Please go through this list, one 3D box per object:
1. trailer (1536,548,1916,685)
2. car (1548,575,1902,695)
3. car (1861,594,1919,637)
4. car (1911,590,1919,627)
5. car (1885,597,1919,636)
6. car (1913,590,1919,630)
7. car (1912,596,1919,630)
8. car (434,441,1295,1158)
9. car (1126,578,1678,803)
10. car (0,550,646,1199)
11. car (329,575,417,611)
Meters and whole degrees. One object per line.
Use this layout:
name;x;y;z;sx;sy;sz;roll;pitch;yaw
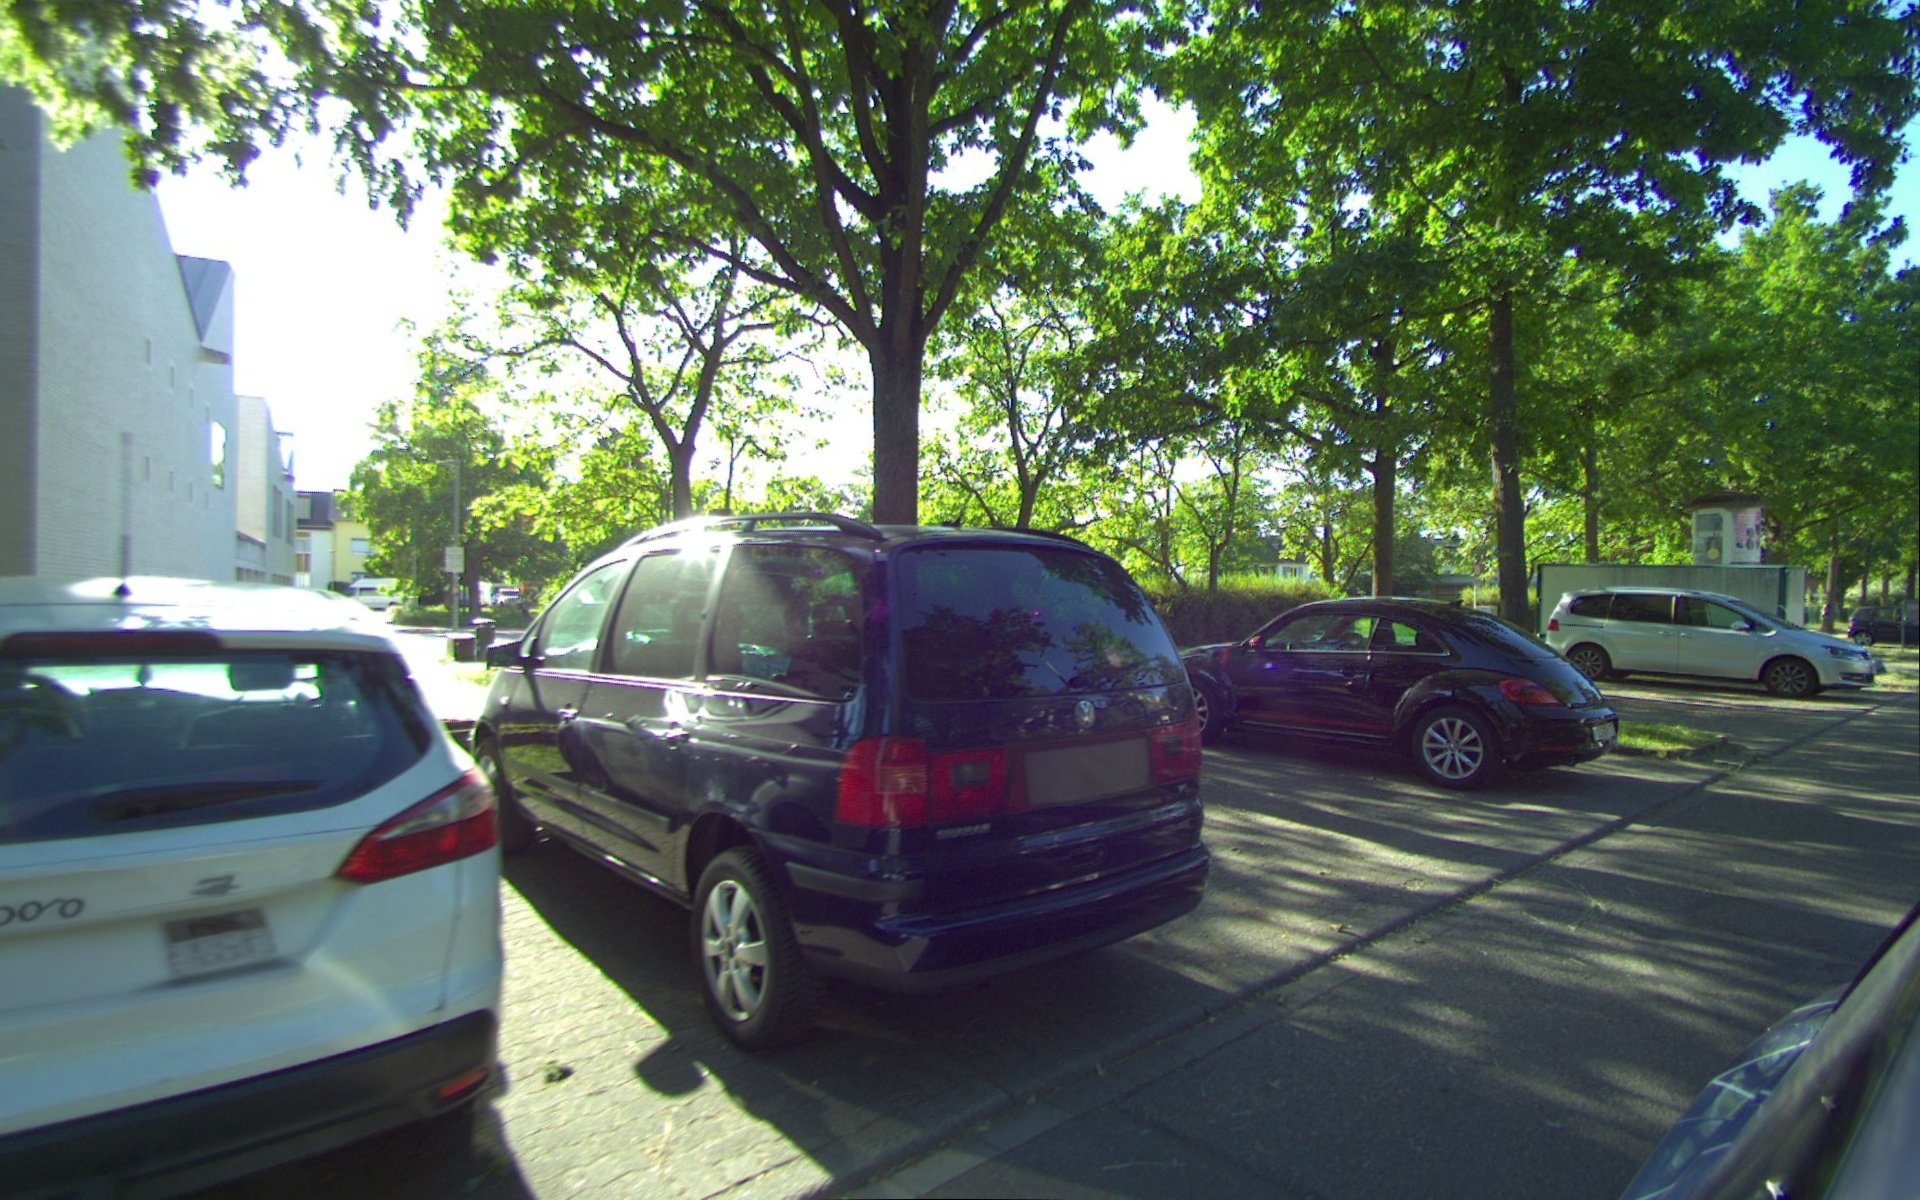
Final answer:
trailer;14.966;0.175;20.211;1.655;2.346;5.790;1;2;-39
car;13.302;0.494;17.863;1.952;1.744;4.652;0;2;-40
car;37.264;0.617;39.014;1.825;1.596;3.590;0;2;-41
car;50.062;0.467;50.272;1.769;1.860;4.013;0;2;-43
car;41.037;0.724;42.058;1.754;1.596;3.592;0;2;-39
car;51.933;0.582;51.506;1.910;2.057;4.812;0;1;-41
car;44.723;0.646;44.812;1.635;1.551;3.529;0;2;-39
car;-0.937;0.445;4.928;1.902;1.823;4.539;0;1;-40
car;3.857;0.605;9.448;2.041;1.538;4.255;0;1;-39
car;-2.770;0.591;3.481;1.768;1.490;4.231;1;1;-39
car;-45.016;-0.509;77.679;5.354;2.643;2.351;-1;-1;-10
